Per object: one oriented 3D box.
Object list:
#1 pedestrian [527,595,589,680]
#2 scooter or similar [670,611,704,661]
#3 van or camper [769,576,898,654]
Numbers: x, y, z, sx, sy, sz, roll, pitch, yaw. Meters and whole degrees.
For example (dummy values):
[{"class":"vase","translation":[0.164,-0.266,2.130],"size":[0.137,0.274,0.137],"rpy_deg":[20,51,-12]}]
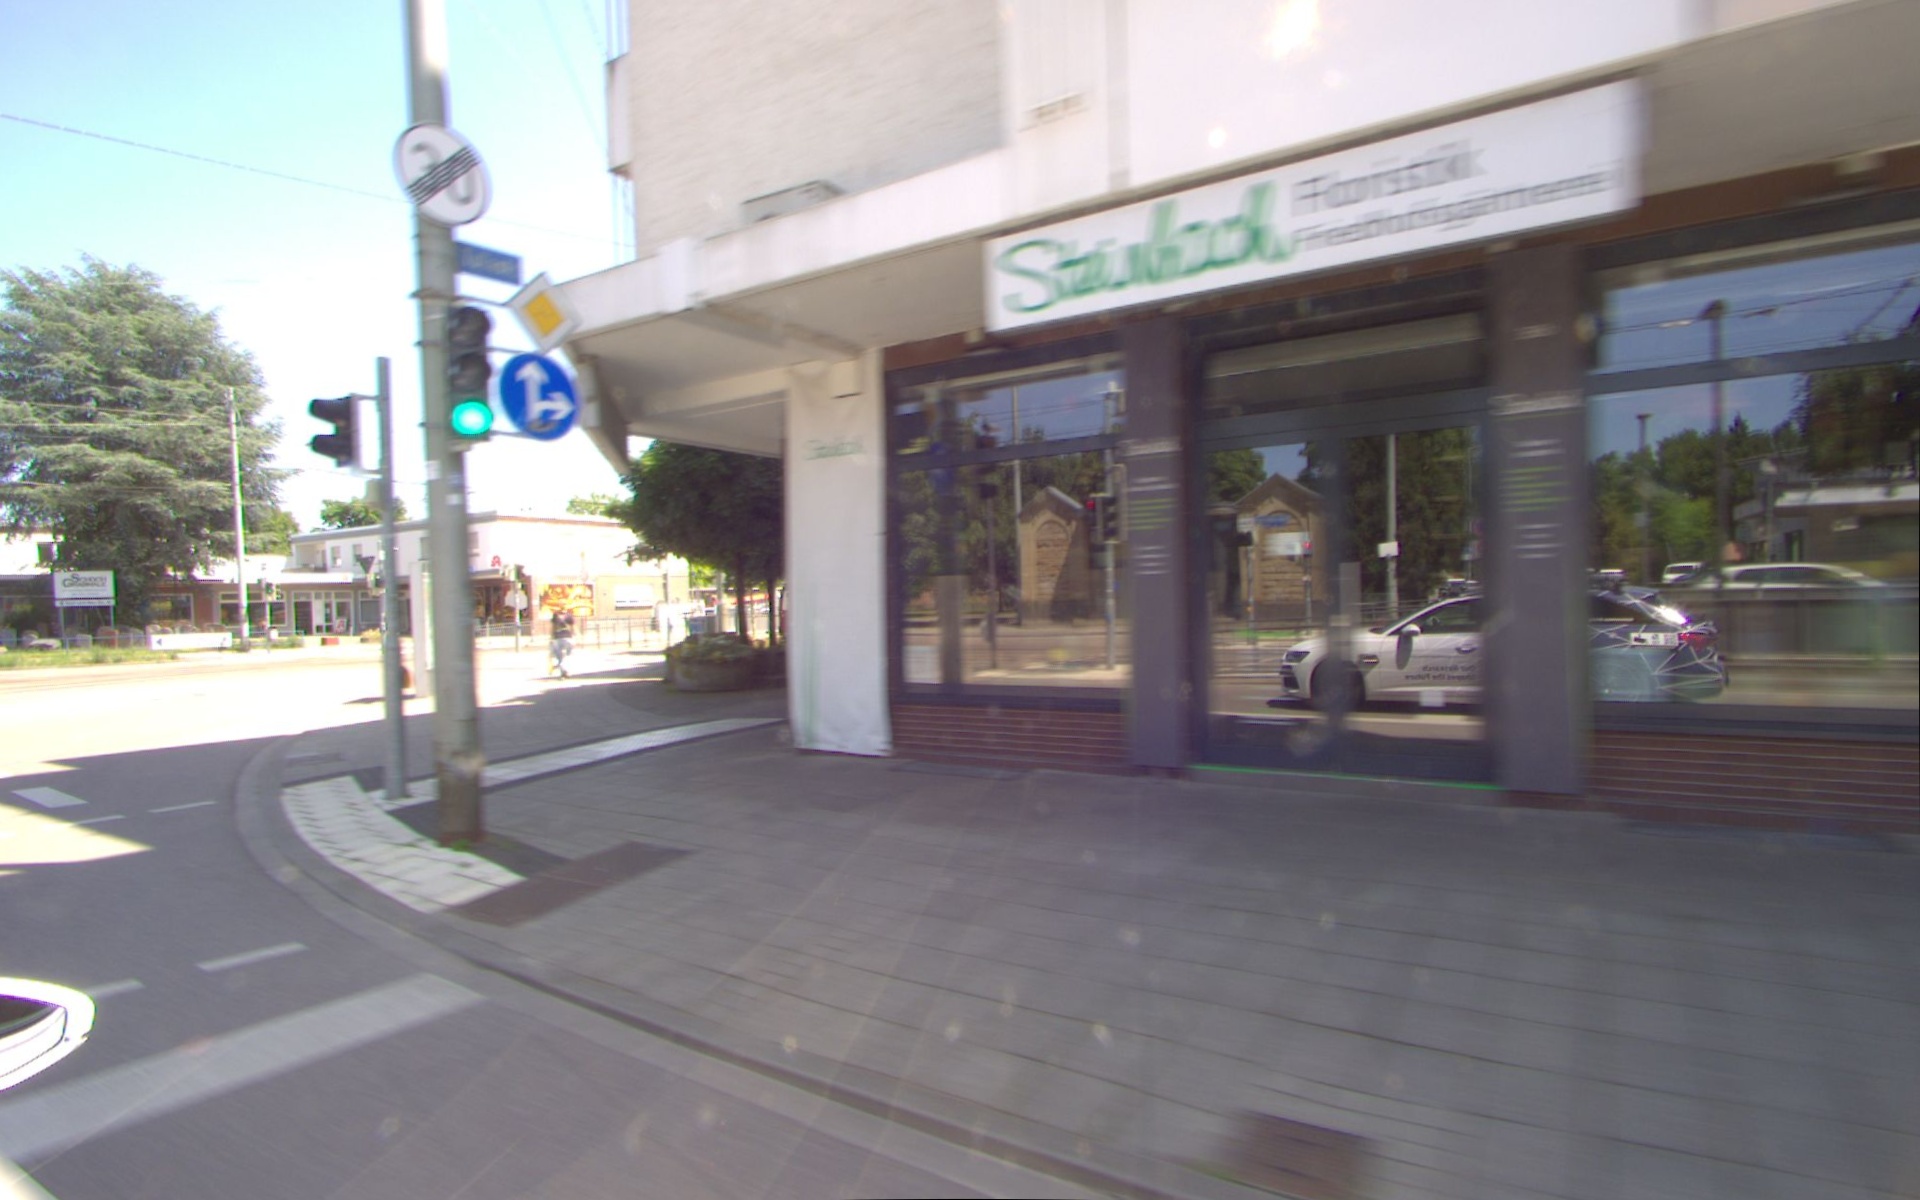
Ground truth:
[{"class":"pedestrian","translation":[-8.056,0.741,20.060],"size":[0.820,1.605,0.818],"rpy_deg":[-6,4,-42]},{"class":"scooter or similar","translation":[-7.012,0.909,25.783],"size":[0.387,1.229,1.255],"rpy_deg":[-1,0,6]},{"class":"van or camper","translation":[-4.818,0.545,39.001],"size":[2.176,2.802,5.213],"rpy_deg":[0,0,31]}]
